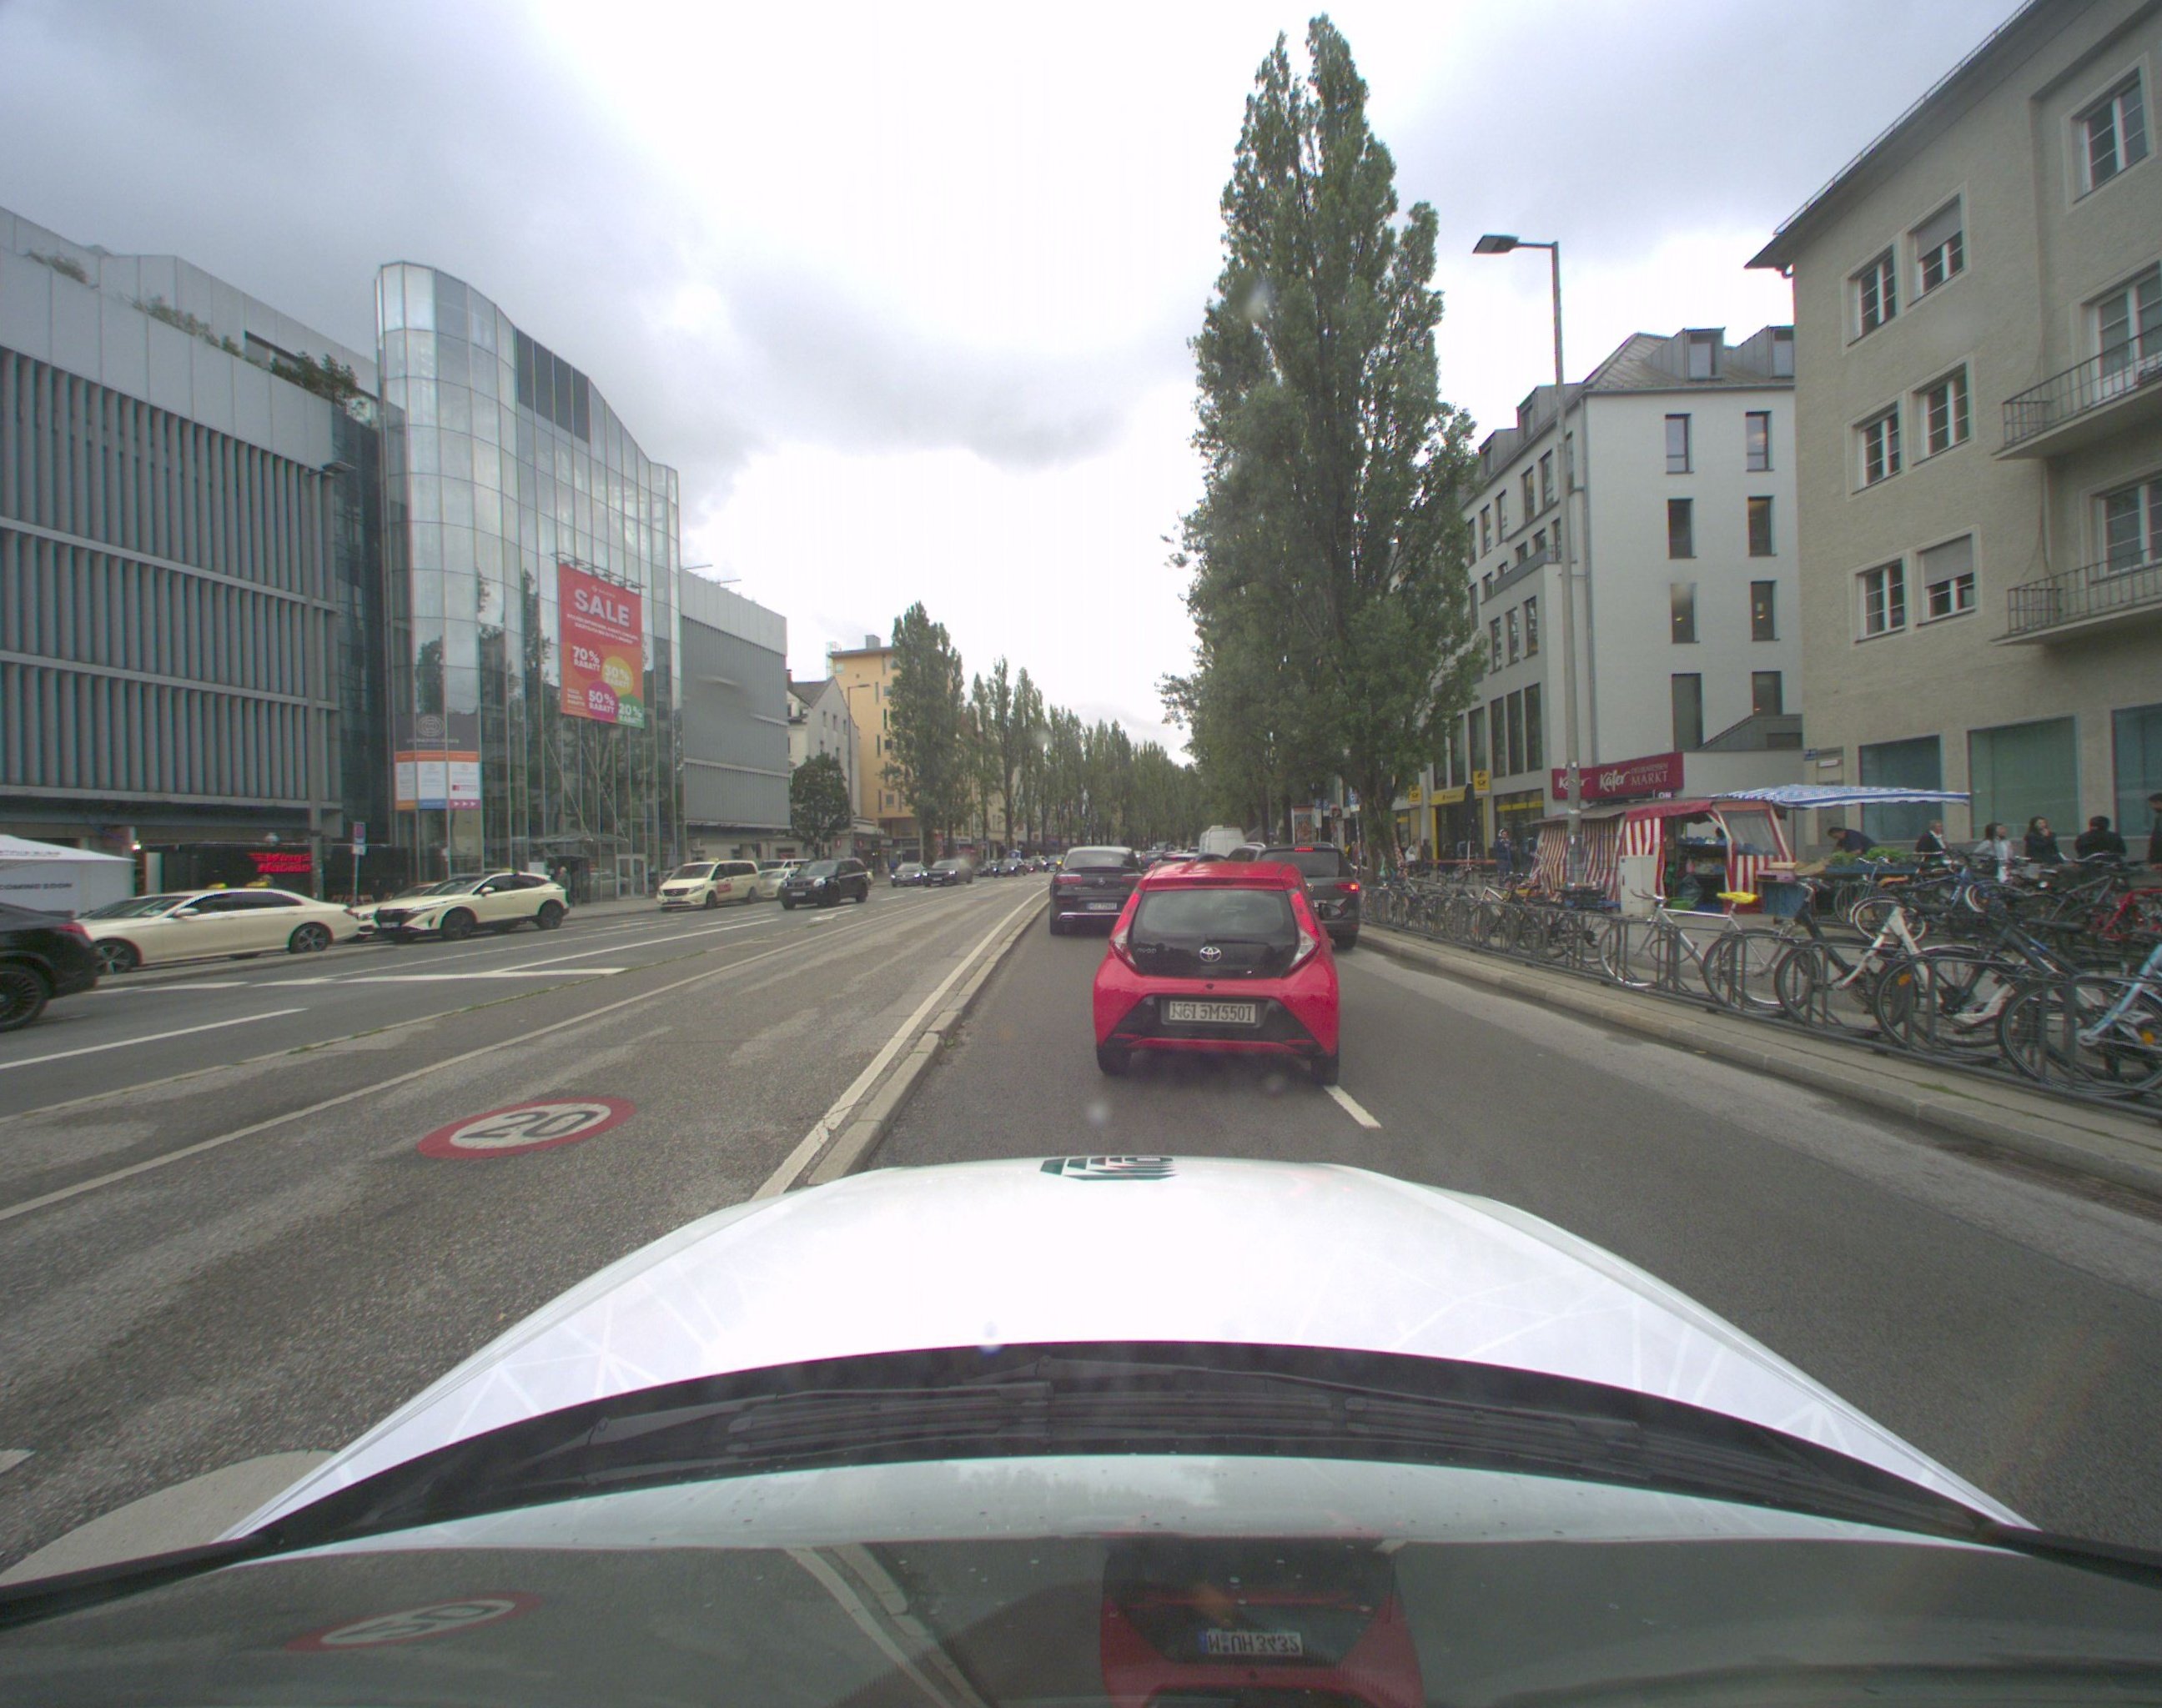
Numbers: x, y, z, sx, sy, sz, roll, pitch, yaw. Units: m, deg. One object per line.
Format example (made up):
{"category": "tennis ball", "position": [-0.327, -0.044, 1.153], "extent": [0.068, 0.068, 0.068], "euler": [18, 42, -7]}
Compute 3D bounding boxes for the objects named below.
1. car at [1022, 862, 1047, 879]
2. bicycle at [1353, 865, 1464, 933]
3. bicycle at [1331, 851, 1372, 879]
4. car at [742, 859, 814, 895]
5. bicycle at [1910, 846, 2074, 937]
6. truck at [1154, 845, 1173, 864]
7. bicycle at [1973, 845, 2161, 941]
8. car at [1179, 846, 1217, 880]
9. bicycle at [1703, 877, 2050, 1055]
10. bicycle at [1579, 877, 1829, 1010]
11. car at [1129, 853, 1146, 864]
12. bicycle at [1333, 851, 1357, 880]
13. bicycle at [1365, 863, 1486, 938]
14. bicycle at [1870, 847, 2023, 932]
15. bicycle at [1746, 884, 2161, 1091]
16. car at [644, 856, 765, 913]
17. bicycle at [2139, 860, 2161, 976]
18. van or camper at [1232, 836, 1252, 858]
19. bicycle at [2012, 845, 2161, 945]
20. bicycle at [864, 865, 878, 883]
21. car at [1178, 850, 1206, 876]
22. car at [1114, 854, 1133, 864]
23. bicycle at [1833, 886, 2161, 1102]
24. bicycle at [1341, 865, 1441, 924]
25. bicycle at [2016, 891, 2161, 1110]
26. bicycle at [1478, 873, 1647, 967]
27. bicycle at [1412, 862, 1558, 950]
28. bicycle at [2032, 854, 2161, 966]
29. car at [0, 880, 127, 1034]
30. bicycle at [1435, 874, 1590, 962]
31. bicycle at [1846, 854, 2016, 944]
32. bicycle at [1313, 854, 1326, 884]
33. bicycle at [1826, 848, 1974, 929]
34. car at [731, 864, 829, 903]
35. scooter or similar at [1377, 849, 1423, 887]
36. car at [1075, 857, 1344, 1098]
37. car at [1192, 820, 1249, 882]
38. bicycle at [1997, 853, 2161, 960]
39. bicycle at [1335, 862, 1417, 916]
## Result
{"category": "car", "position": [-4.670, 1.634, 81.874], "extent": [1.774, 1.466, 4.007], "euler": [-3, 0, 6]}
{"category": "bicycle", "position": [5.823, 0.774, 14.562], "extent": [1.779, 1.054, 0.369], "euler": [3, 2, 39]}
{"category": "bicycle", "position": [11.646, 0.484, 35.066], "extent": [1.616, 1.160, 0.708], "euler": [-1, 0, 14]}
{"category": "car", "position": [-19.478, 1.435, 52.609], "extent": [1.981, 2.013, 5.126], "euler": [-2, 0, 10]}
{"category": "bicycle", "position": [12.073, 0.488, 10.815], "extent": [1.622, 1.103, 0.410], "euler": [-3, -1, 2]}
{"category": "truck", "position": [15.502, 0.078, 152.394], "extent": [2.275, 3.323, 7.184], "euler": [-3, 0, 14]}
{"category": "bicycle", "position": [12.298, 0.480, 10.176], "extent": [1.619, 1.103, 0.411], "euler": [-3, -1, 9]}
{"category": "car", "position": [6.556, 0.478, 45.988], "extent": [1.919, 1.805, 4.787], "euler": [0, 0, 6]}
{"category": "bicycle", "position": [5.788, 0.759, 6.078], "extent": [1.779, 1.059, 0.400], "euler": [3, 2, 39]}
{"category": "bicycle", "position": [5.720, 0.773, 7.583], "extent": [1.779, 1.010, 0.389], "euler": [3, 2, 39]}
{"category": "car", "position": [8.694, 0.673, 124.286], "extent": [1.896, 1.603, 4.370], "euler": [-2, 0, 12]}
{"category": "bicycle", "position": [10.949, 0.482, 33.832], "extent": [0.476, 1.160, 1.634], "euler": [-1, 0, 2]}
{"category": "bicycle", "position": [5.827, 0.754, 13.854], "extent": [1.779, 1.105, 0.550], "euler": [3, 2, 39]}
{"category": "bicycle", "position": [12.195, 0.494, 11.500], "extent": [1.622, 1.103, 0.410], "euler": [-3, -1, 2]}
{"category": "bicycle", "position": [5.680, 0.793, 5.460], "extent": [0.400, 1.059, 1.830], "euler": [0, 2, -44]}
{"category": "car", "position": [-14.852, 1.125, 32.545], "extent": [1.985, 2.013, 5.327], "euler": [-3, 0, 4]}
{"category": "bicycle", "position": [10.835, 0.572, 7.698], "extent": [1.449, 1.078, 0.408], "euler": [-3, 0, -12]}
{"category": "van or camper", "position": [23.442, -1.004, 118.618], "extent": [2.442, 3.112, 4.734], "euler": [-3, 0, 15]}
{"category": "bicycle", "position": [12.140, 0.476, 9.593], "extent": [1.619, 1.103, 0.411], "euler": [-3, -1, 9]}
{"category": "bicycle", "position": [-14.307, 1.376, 55.559], "extent": [0.365, 1.201, 1.158], "euler": [-2, 0, 15]}
{"category": "car", "position": [7.738, 0.597, 57.139], "extent": [1.719, 1.686, 4.414], "euler": [-1, 0, 5]}
{"category": "car", "position": [5.967, 0.687, 114.484], "extent": [1.786, 1.394, 4.708], "euler": [-2, 0, 13]}
{"category": "bicycle", "position": [5.697, 0.787, 4.782], "extent": [0.400, 1.059, 1.830], "euler": [0, 2, -44]}
{"category": "bicycle", "position": [6.238, 0.788, 16.446], "extent": [1.779, 1.054, 0.550], "euler": [3, 2, 39]}
{"category": "bicycle", "position": [5.911, 0.777, 3.898], "extent": [0.400, 1.059, 1.830], "euler": [0, 2, -44]}
{"category": "bicycle", "position": [6.047, 0.795, 10.303], "extent": [1.779, 1.010, 0.389], "euler": [3, 2, 39]}
{"category": "bicycle", "position": [5.794, 0.706, 11.751], "extent": [1.779, 1.105, 0.550], "euler": [3, 2, 39]}
{"category": "bicycle", "position": [10.880, 0.562, 8.406], "extent": [1.440, 1.078, 0.411], "euler": [-3, -1, 8]}
{"category": "car", "position": [-12.476, 1.148, 7.373], "extent": [1.984, 1.576, 4.624], "euler": [-2, 0, 6]}
{"category": "bicycle", "position": [5.802, 0.828, 11.028], "extent": [1.779, 1.010, 0.388], "euler": [3, 2, 43]}
{"category": "bicycle", "position": [10.810, 0.571, 10.400], "extent": [1.458, 1.078, 0.412], "euler": [-3, -1, 16]}
{"category": "bicycle", "position": [9.865, 0.608, 33.632], "extent": [0.473, 1.160, 1.833], "euler": [-1, 0, 17]}
{"category": "bicycle", "position": [12.090, 0.499, 12.042], "extent": [1.621, 1.103, 0.411], "euler": [-3, -1, 5]}
{"category": "car", "position": [-14.079, 1.326, 38.466], "extent": [1.965, 1.552, 5.099], "euler": [-2, 0, 9]}
{"category": "scooter or similar", "position": [10.807, 0.484, 27.581], "extent": [1.468, 1.207, 0.398], "euler": [-3, 0, -18]}
{"category": "car", "position": [1.221, 0.759, 6.830], "extent": [1.653, 1.446, 3.610], "euler": [-1, -1, 14]}
{"category": "car", "position": [6.593, -0.098, 39.026], "extent": [1.985, 2.741, 5.558], "euler": [0, -1, 3]}
{"category": "bicycle", "position": [11.040, 0.560, 8.881], "extent": [1.471, 1.078, 0.411], "euler": [-3, -1, 5]}
{"category": "bicycle", "position": [6.392, 0.743, 17.701], "extent": [1.556, 1.054, 0.550], "euler": [3, 2, 39]}
